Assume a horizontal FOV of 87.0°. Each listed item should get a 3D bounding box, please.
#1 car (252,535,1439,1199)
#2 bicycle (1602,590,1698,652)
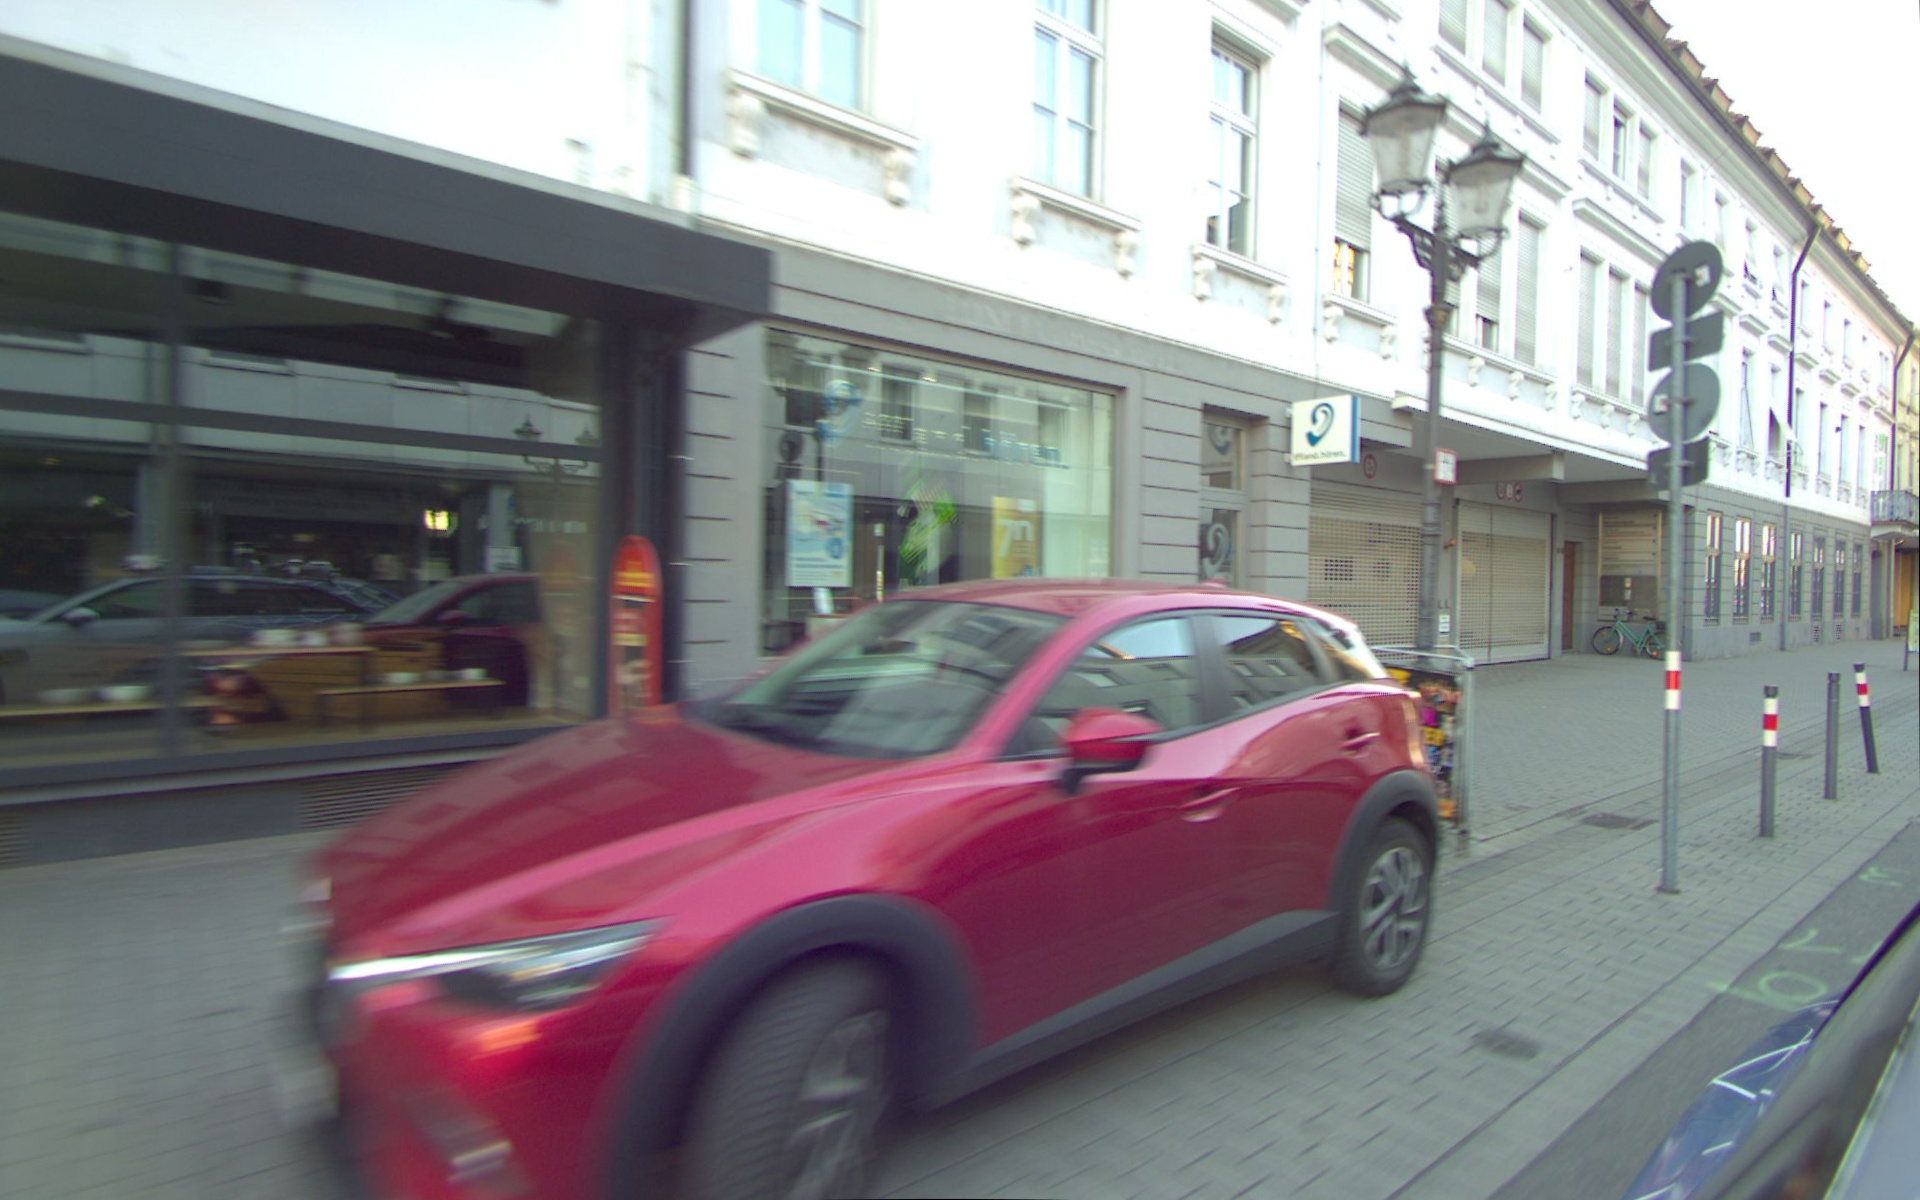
[{"bbox_3d":[-0.127,0.643,3.421,3.611,1.542,1.764,0,1,-39],"label":"car"},{"bbox_3d":[14.960,0.439,21.981,0.431,1.268,1.659,0,1,-41],"label":"bicycle"}]
